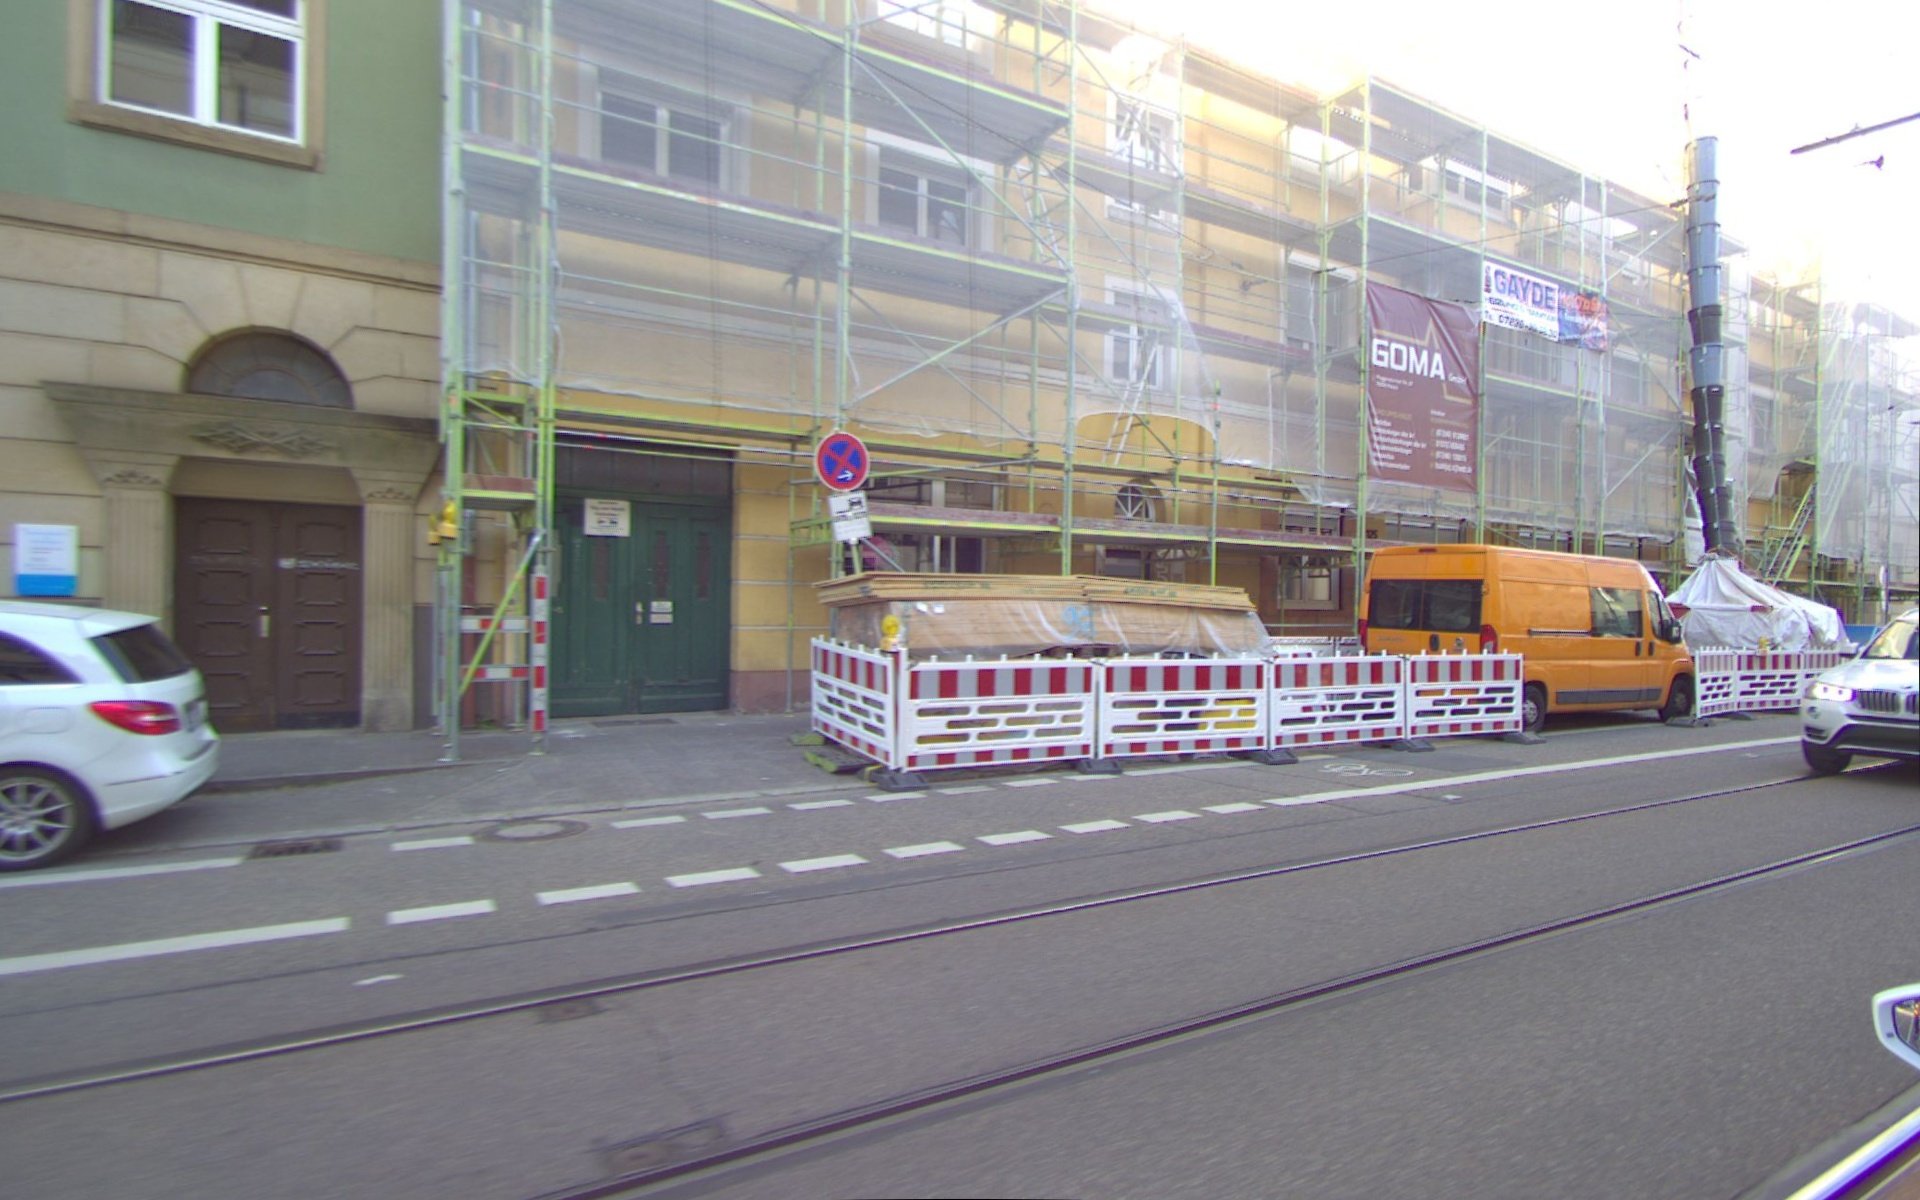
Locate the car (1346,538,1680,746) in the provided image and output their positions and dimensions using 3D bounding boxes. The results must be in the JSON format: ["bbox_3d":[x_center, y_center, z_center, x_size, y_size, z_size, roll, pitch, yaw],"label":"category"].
[{"bbox_3d":[7.986,0.553,14.373,4.926,2.508,2.132,1,-1,-33],"label":"car"}]

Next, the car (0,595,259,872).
[{"bbox_3d":[-6.842,0.740,5.858,4.334,1.523,1.710,1,1,-29],"label":"car"}]

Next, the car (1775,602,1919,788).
[{"bbox_3d":[10.363,0.883,10.212,4.438,1.653,1.817,1,-1,-31],"label":"car"}]
